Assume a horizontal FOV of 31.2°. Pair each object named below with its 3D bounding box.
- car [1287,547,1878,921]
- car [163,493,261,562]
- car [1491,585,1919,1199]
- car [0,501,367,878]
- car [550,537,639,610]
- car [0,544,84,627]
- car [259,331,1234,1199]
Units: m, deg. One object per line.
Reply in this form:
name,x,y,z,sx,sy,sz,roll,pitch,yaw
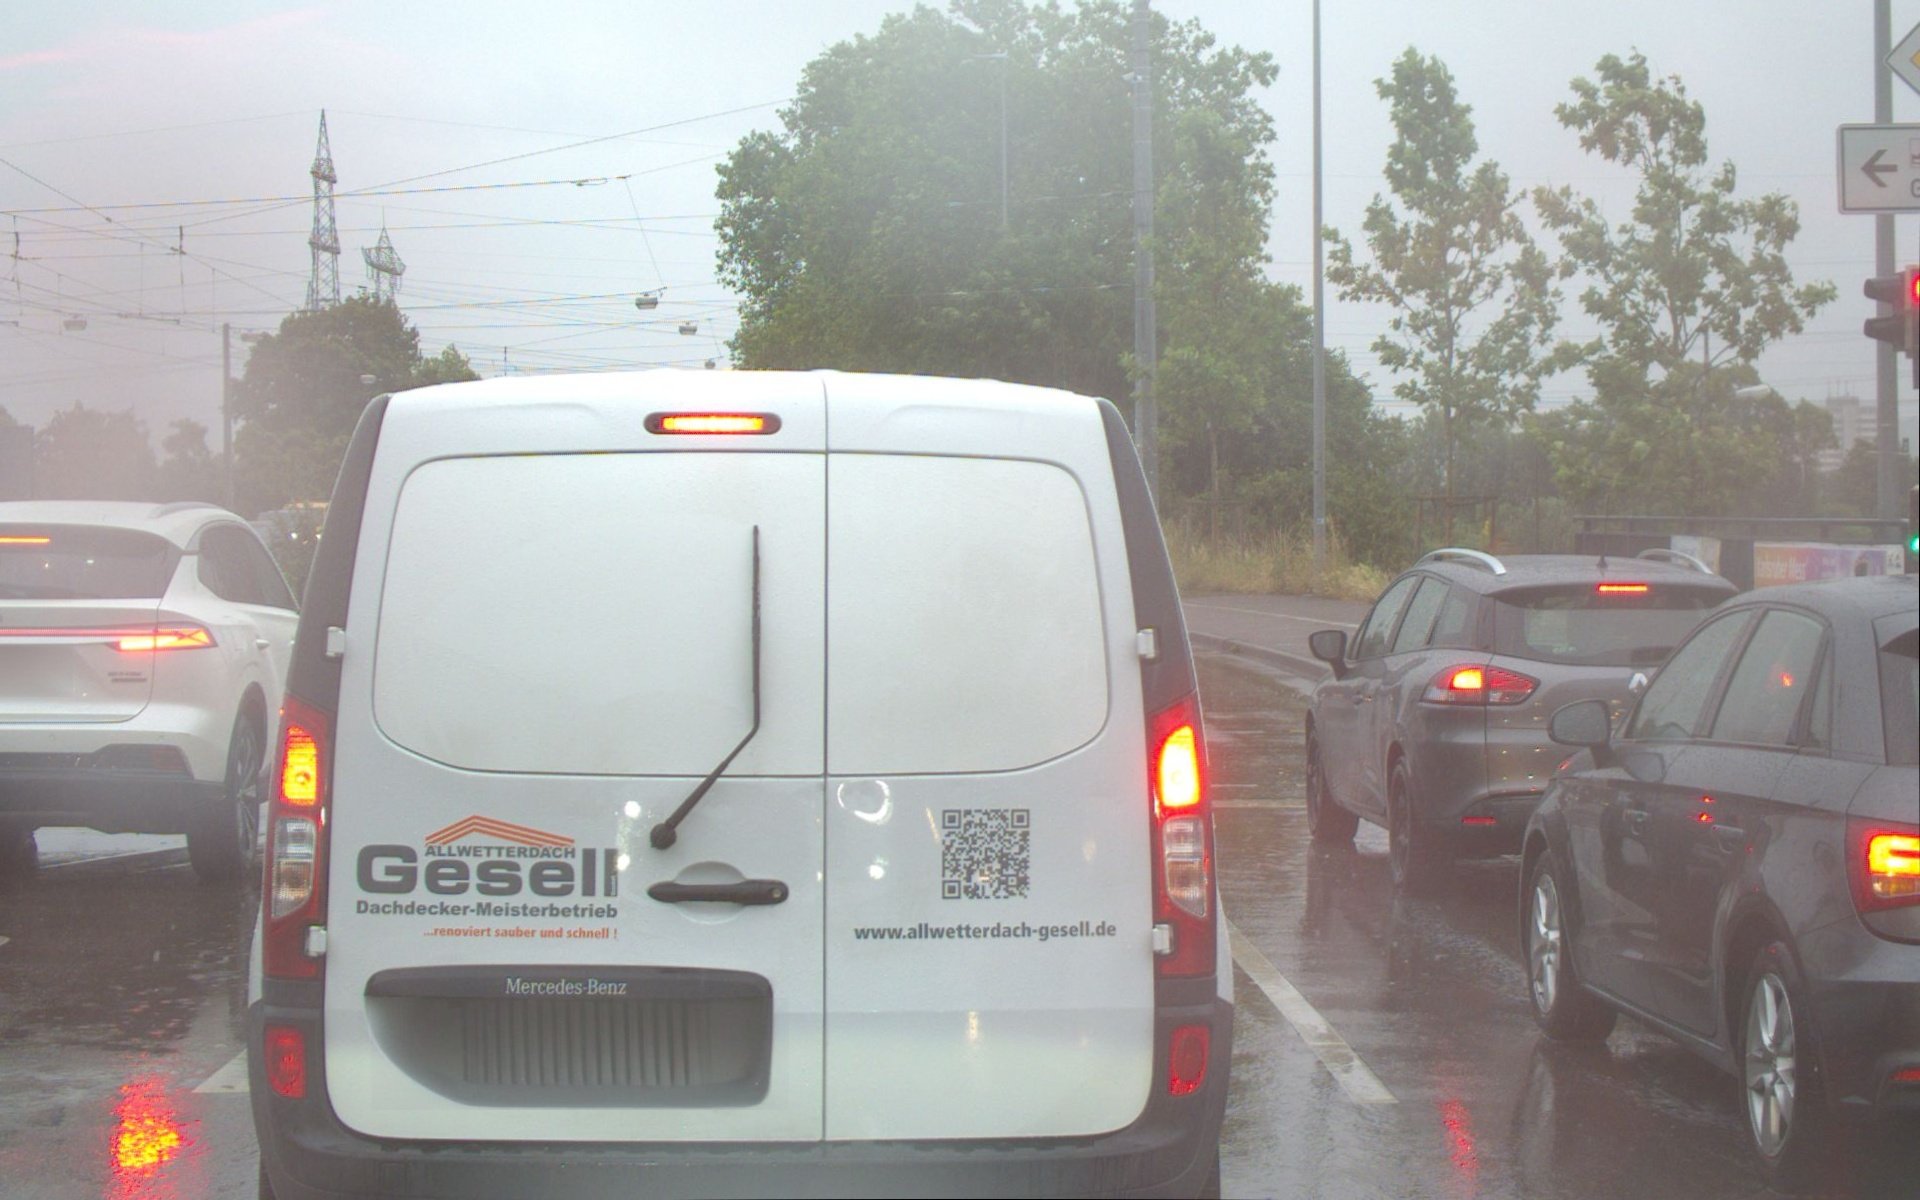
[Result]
car,2.649,0.505,15.534,1.859,1.424,3.808,1,1,-2
car,-22.600,-2.173,104.001,1.993,2.007,4.000,1,1,1
car,2.533,0.656,8.932,1.629,1.340,3.624,1,1,-2
car,-3.975,0.307,16.170,1.728,1.530,4.298,1,1,-2
car,-7.862,-0.574,73.678,1.614,1.498,3.716,1,1,-10
car,-21.335,-0.340,77.438,1.929,1.820,3.999,1,1,4
car,-0.367,0.435,7.551,1.566,1.782,4.000,0,1,-1
